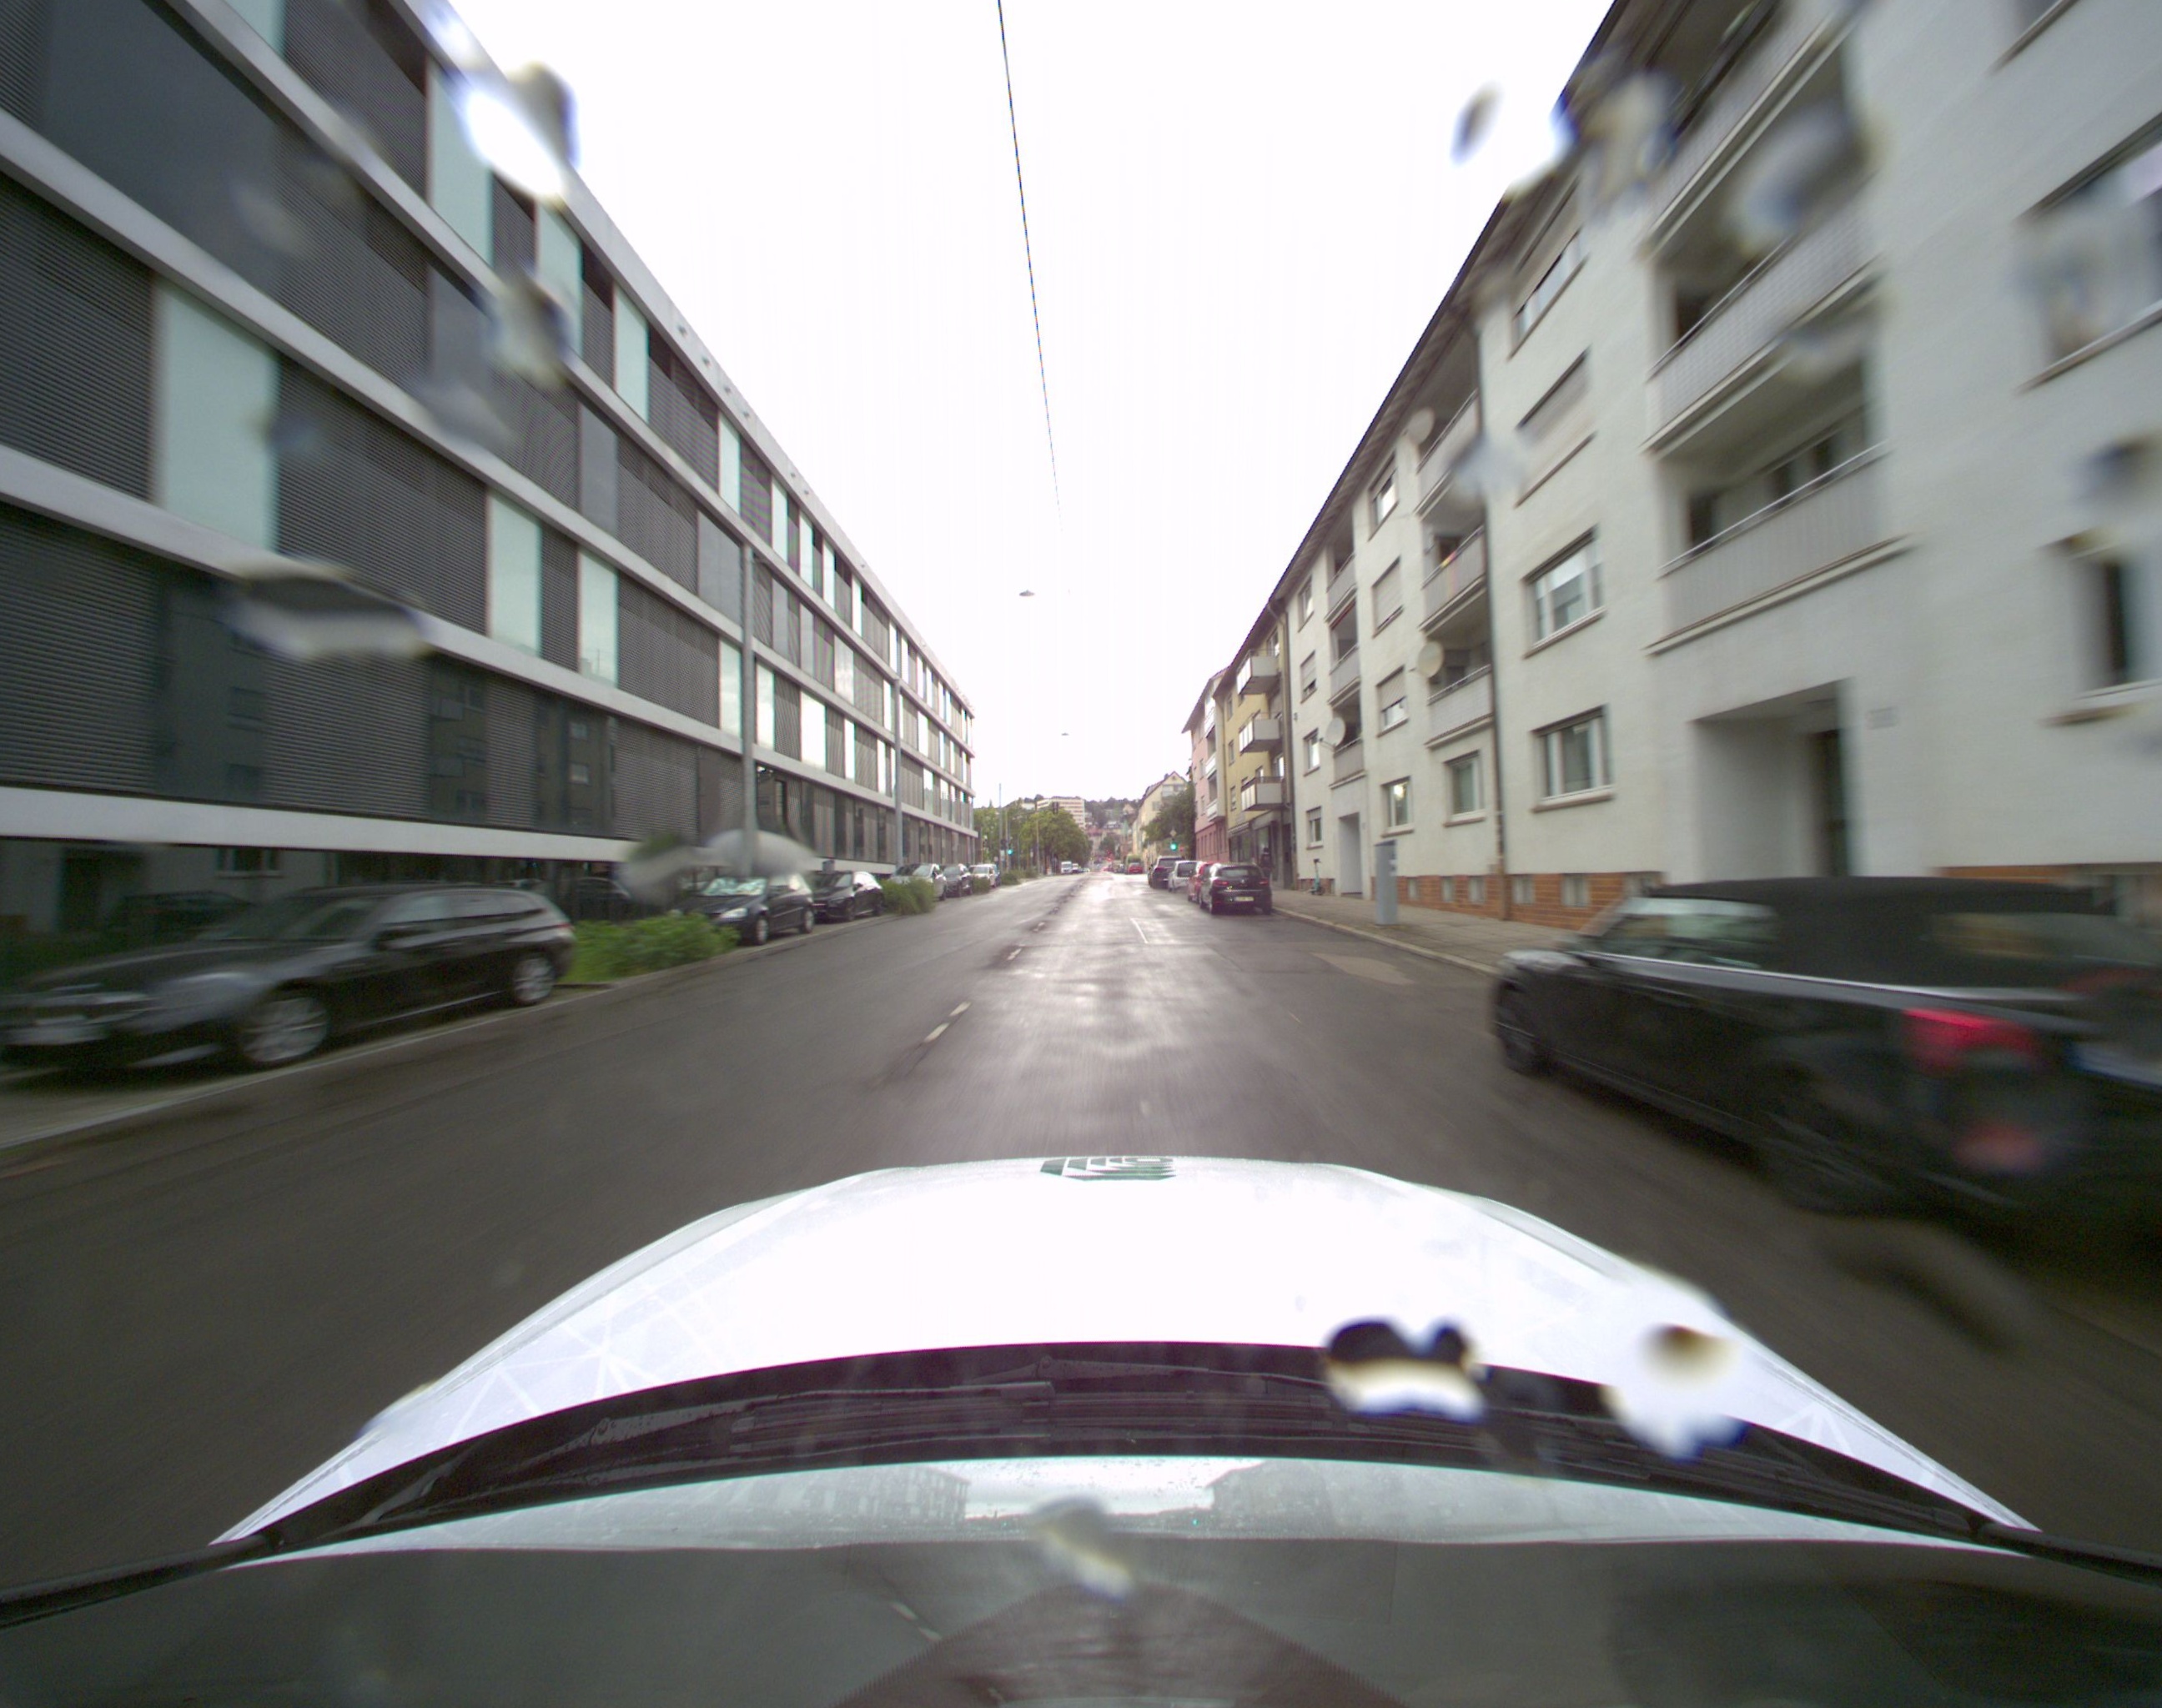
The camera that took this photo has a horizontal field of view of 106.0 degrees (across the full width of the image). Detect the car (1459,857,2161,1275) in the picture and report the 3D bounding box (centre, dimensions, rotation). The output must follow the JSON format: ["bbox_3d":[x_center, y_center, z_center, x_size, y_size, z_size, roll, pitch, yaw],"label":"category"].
[{"bbox_3d":[3.915,0.769,4.785,1.667,1.459,3.765,-1,-1,1],"label":"car"}]

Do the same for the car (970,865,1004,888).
[{"bbox_3d":[-6.413,1.504,55.794,1.861,1.525,4.194,-1,-1,-1],"label":"car"}]

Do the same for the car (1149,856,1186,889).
[{"bbox_3d":[4.708,1.009,44.982,1.649,1.738,4.180,-1,-1,1],"label":"car"}]

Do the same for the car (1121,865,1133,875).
[{"bbox_3d":[7.471,2.570,131.879,1.858,1.604,4.193,-1,-2,4],"label":"car"}]

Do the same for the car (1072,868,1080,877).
[{"bbox_3d":[-1.221,4.414,191.149,1.862,2.141,4.354,0,-2,-2],"label":"car"}]

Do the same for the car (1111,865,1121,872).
[{"bbox_3d":[7.546,3.126,174.787,1.858,1.604,4.193,-1,-2,4],"label":"car"}]

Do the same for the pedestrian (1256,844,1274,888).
[{"bbox_3d":[7.965,0.534,35.312,0.636,1.870,0.539,-1,-2,3],"label":"pedestrian"}]

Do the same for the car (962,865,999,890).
[{"bbox_3d":[-6.197,1.439,50.466,1.588,1.459,3.721,-1,-1,3],"label":"car"}]

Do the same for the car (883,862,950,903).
[{"bbox_3d":[-6.679,1.132,33.469,1.765,1.534,4.317,-1,-1,1],"label":"car"}]

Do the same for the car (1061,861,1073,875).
[{"bbox_3d":[-2.621,2.696,152.338,2.099,2.546,4.748,0,-1,-1],"label":"car"}]

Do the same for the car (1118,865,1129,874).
[{"bbox_3d":[7.879,2.936,151.238,1.858,1.604,4.193,-1,-2,4],"label":"car"}]

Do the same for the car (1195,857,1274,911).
[{"bbox_3d":[4.486,0.882,24.313,1.700,1.454,3.985,-1,-2,1],"label":"car"}]

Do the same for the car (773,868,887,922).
[{"bbox_3d":[-7.119,1.130,23.580,1.831,1.396,4.393,-1,-2,2],"label":"car"}]

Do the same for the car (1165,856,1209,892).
[{"bbox_3d":[4.936,0.938,38.277,1.629,1.571,3.711,-1,-2,1],"label":"car"}]

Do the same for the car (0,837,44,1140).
[{"bbox_3d":[-7.374,0.748,2.460,1.954,1.750,4.946,-1,-1,4],"label":"car"}]

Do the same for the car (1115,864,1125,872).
[{"bbox_3d":[7.981,2.851,166.612,1.858,1.604,4.193,-1,-2,4],"label":"car"}]

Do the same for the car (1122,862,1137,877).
[{"bbox_3d":[6.284,2.039,105.697,1.858,1.973,4.193,-1,-2,4],"label":"car"}]

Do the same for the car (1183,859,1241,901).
[{"bbox_3d":[4.710,0.932,29.612,1.577,1.414,3.654,-1,-2,1],"label":"car"}]

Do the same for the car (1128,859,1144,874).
[{"bbox_3d":[6.530,1.482,96.564,1.858,1.770,4.193,-1,-2,4],"label":"car"}]

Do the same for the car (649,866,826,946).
[{"bbox_3d":[-7.191,1.013,17.606,1.856,1.489,4.348,-1,-1,2],"label":"car"}]

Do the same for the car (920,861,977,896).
[{"bbox_3d":[-6.374,1.181,39.554,1.793,1.604,4.238,-1,-2,4],"label":"car"}]

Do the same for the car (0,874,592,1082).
[{"bbox_3d":[-7.332,0.947,8.175,1.864,1.473,4.741,-1,-2,2],"label":"car"}]

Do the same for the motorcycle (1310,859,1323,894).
[{"bbox_3d":[8.011,0.770,27.692,0.251,1.165,0.781,-1,-2,4],"label":"motorcycle"}]

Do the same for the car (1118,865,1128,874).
[{"bbox_3d":[8.111,2.977,156.272,1.858,1.604,4.193,-1,-2,4],"label":"car"}]
